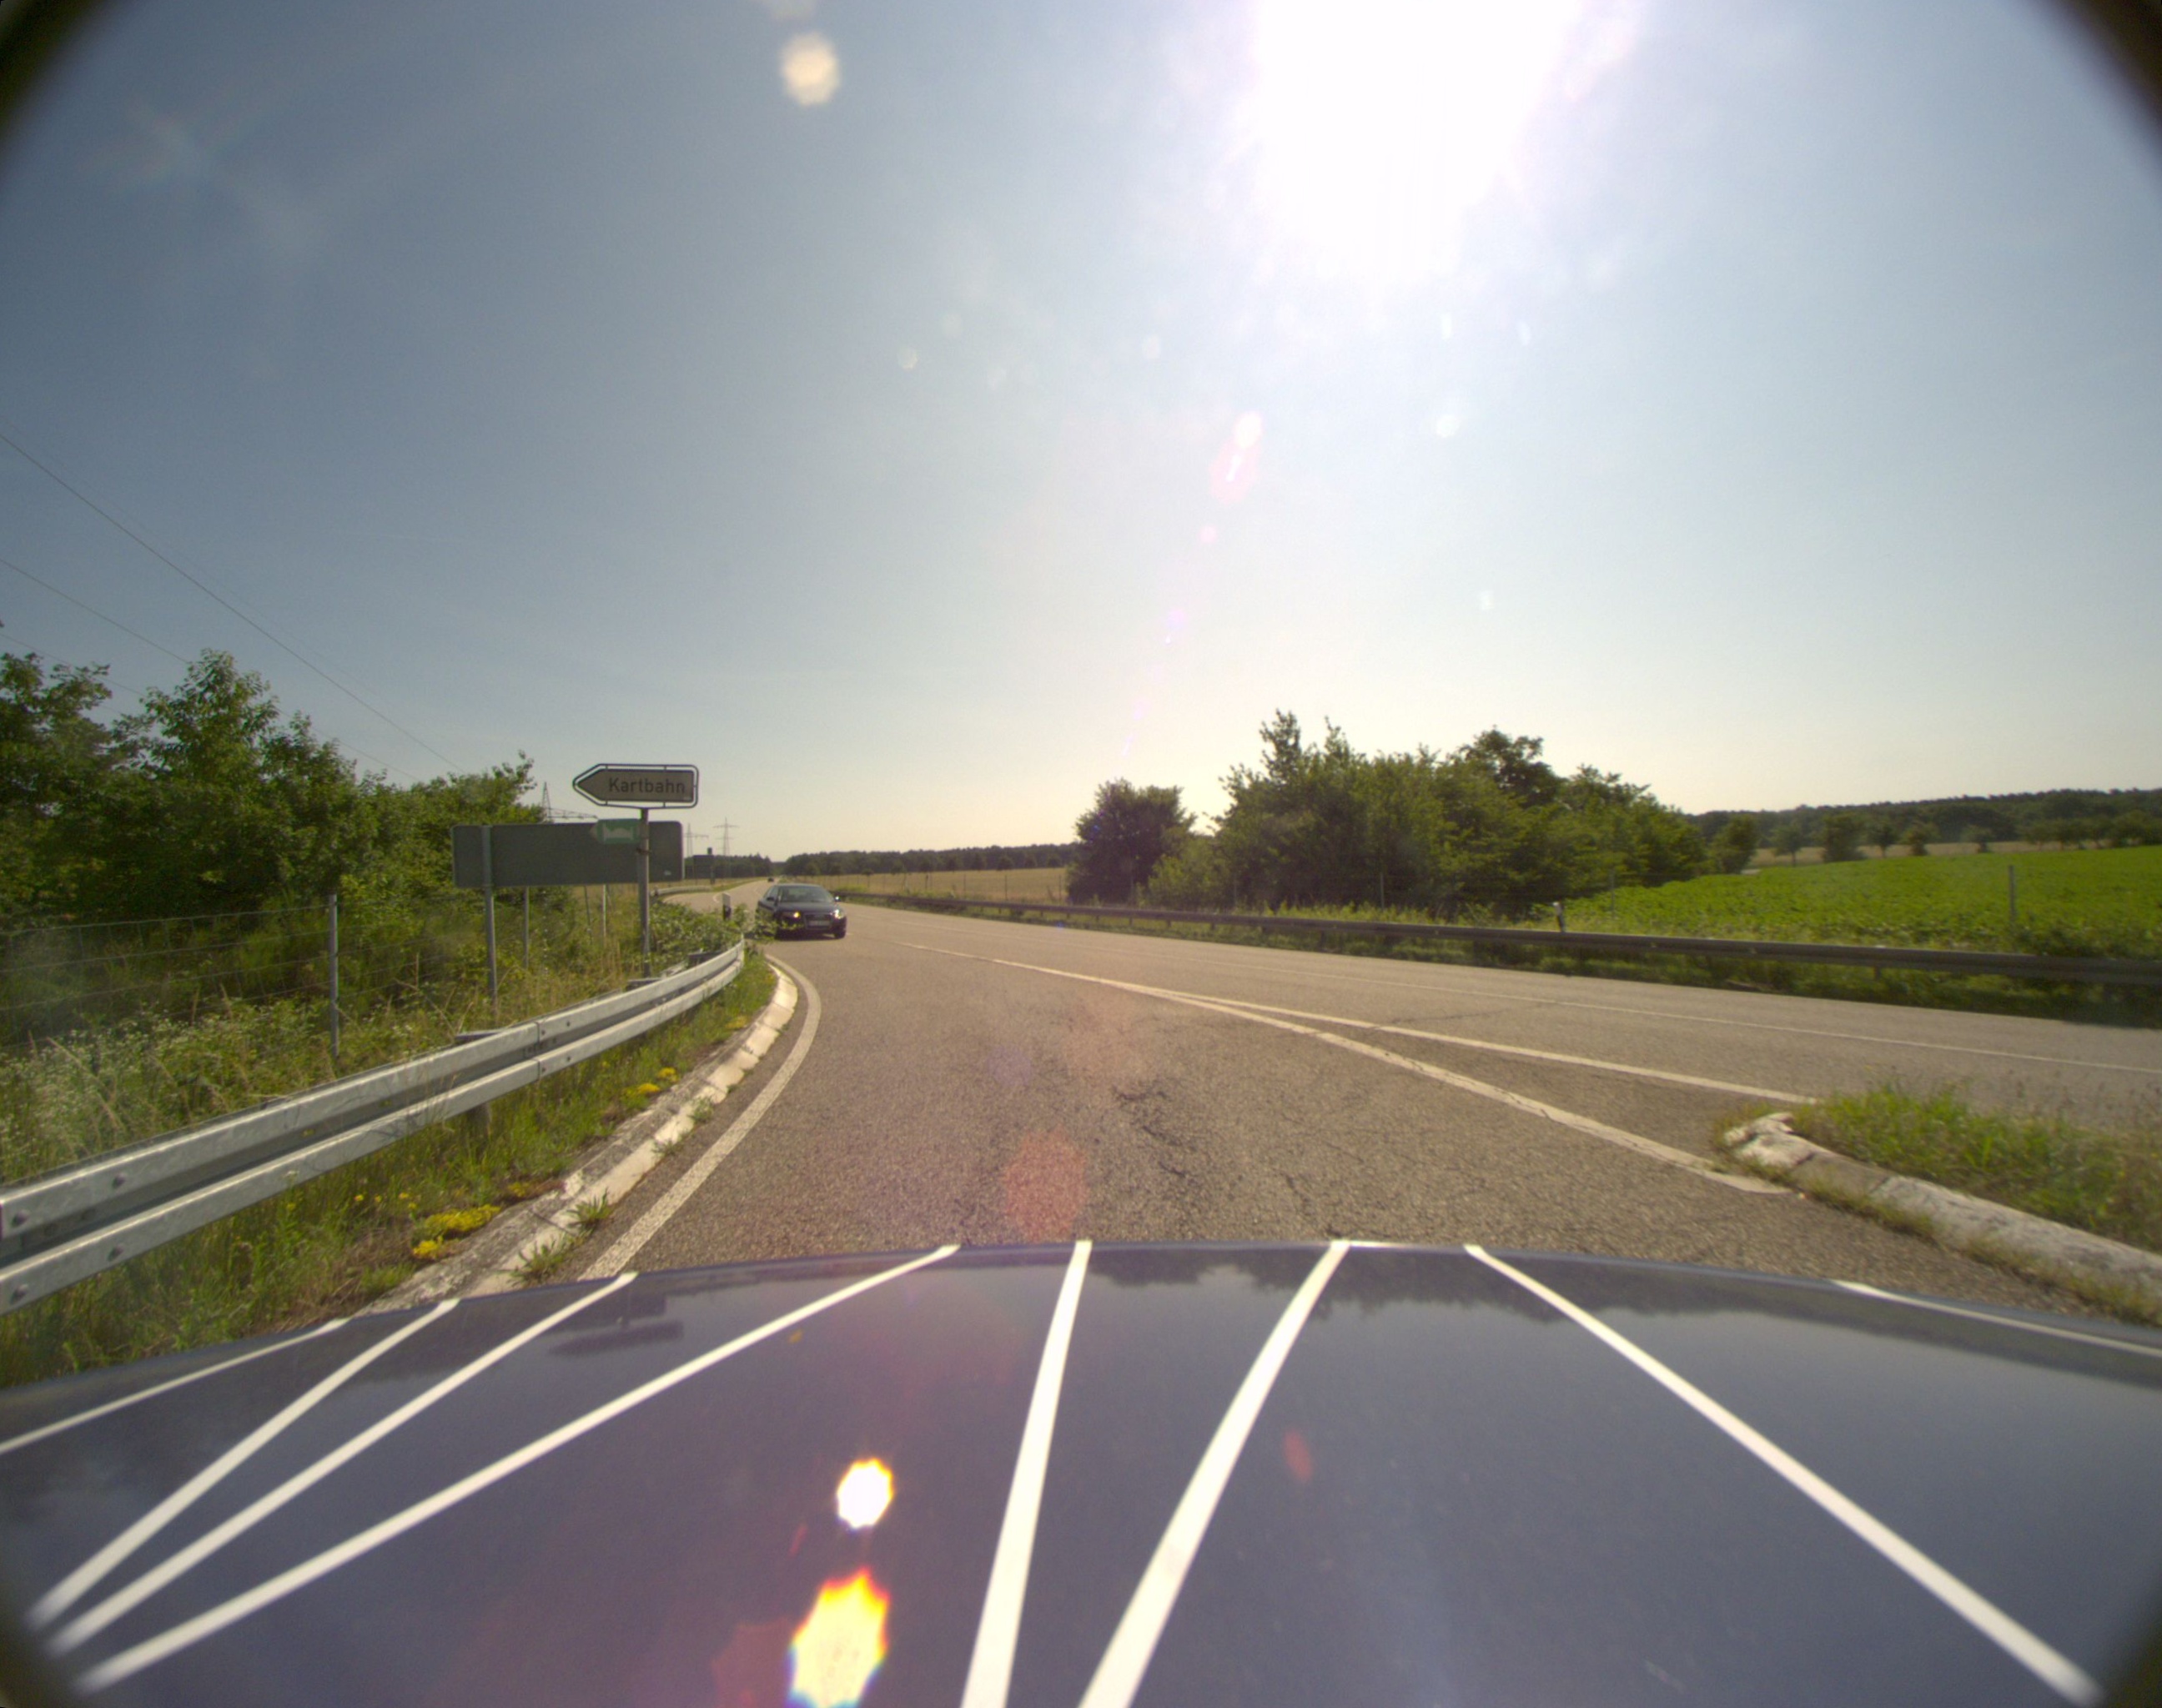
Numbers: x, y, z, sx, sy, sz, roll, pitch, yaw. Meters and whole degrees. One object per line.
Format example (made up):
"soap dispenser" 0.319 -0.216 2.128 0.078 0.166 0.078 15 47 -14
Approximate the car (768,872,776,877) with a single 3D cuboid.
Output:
"car" -91.769 6.143 225.805 1.837 1.498 4.154 2 -2 -26

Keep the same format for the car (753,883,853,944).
"car" -7.573 1.526 20.490 1.891 1.447 4.067 2 -3 -29
